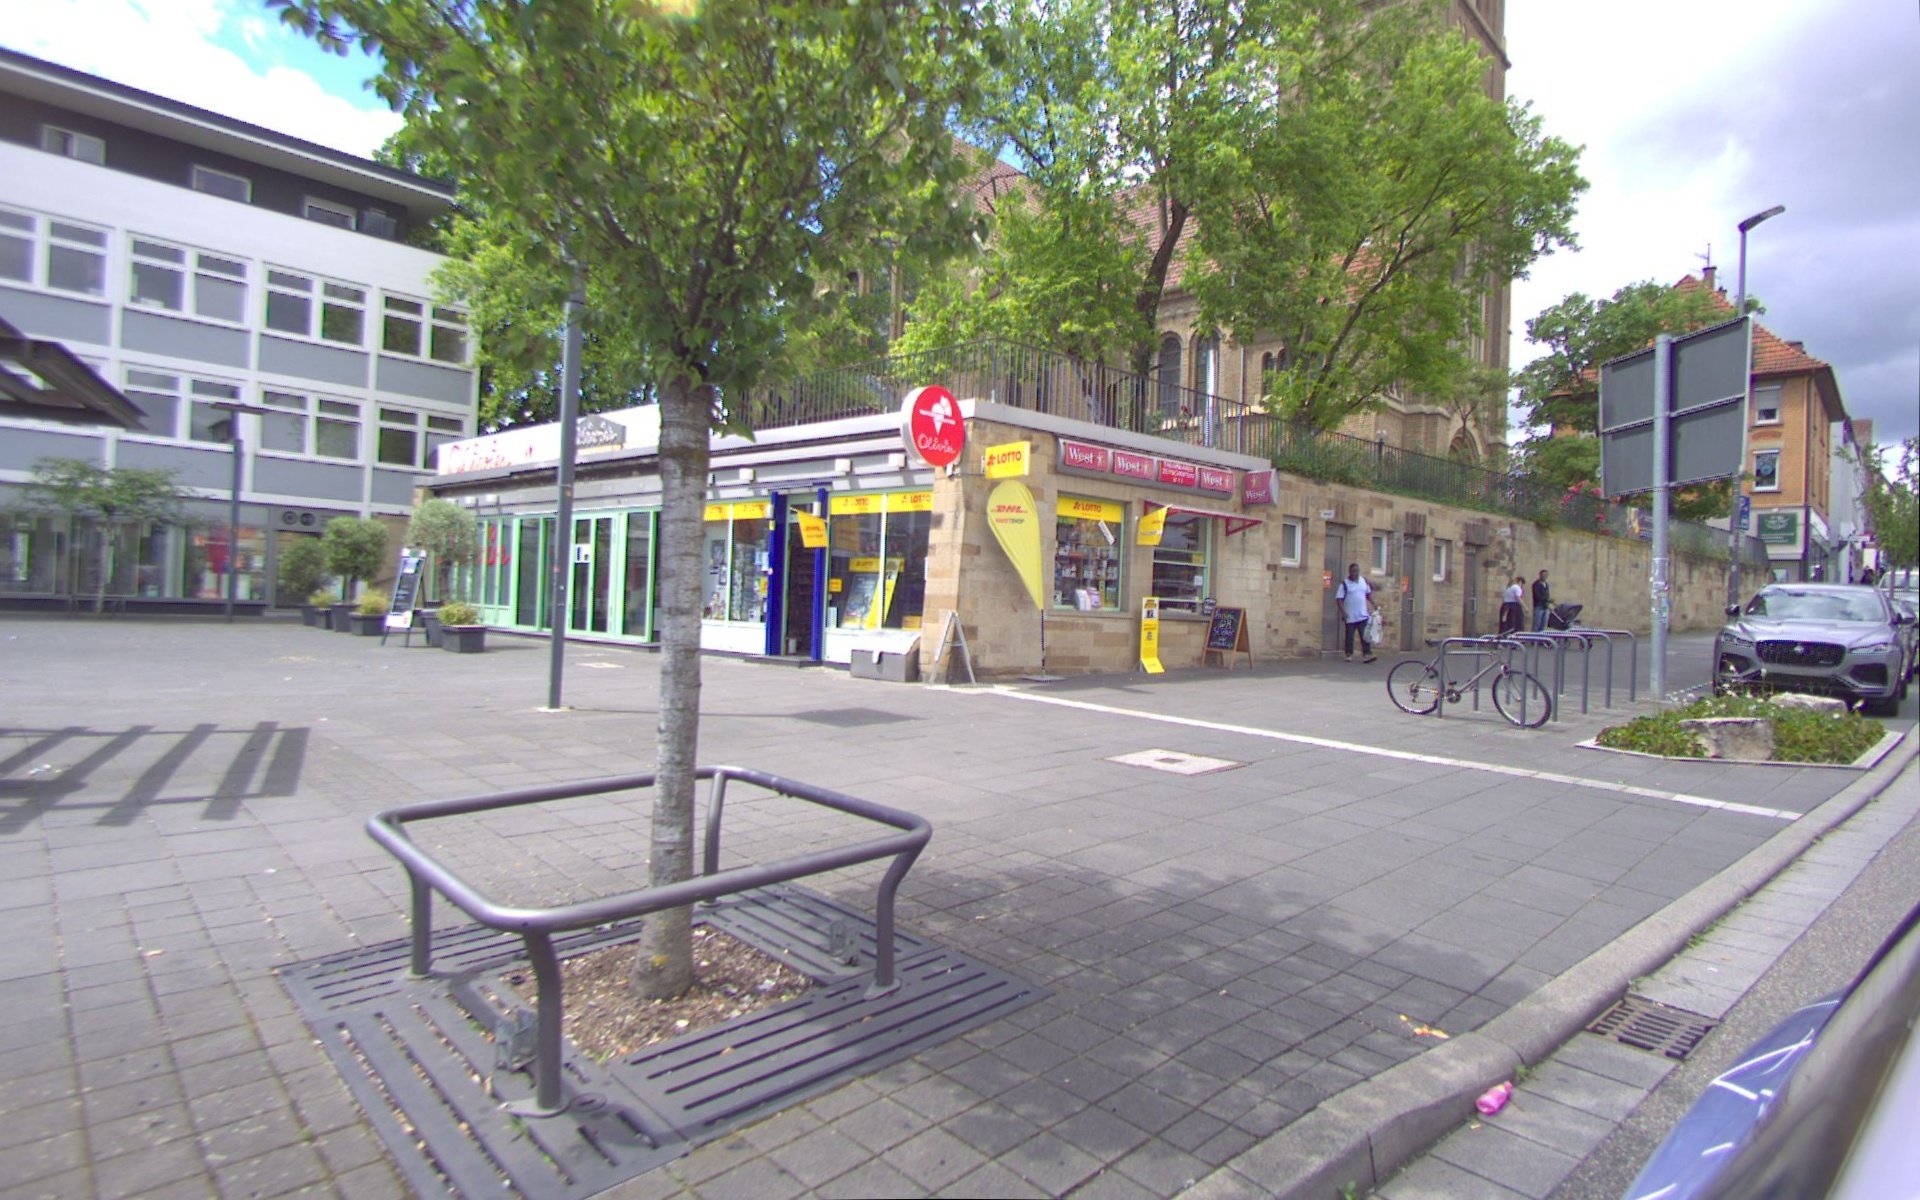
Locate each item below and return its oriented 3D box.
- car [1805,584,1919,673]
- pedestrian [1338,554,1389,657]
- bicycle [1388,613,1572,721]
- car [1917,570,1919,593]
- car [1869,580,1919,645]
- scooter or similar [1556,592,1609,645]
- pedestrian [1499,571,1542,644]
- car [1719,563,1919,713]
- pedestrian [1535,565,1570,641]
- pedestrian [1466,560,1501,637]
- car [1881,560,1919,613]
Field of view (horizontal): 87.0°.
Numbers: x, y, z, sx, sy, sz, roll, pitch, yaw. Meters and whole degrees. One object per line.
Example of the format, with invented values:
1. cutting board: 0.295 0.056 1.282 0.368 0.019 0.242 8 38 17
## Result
1. car: 17.024 0.444 18.657 4.298 1.434 1.683 -1 2 -43
2. pedestrian: 7.117 0.082 17.876 0.753 1.752 0.594 3 2 21
3. bicycle: 5.604 0.691 10.988 1.726 1.008 0.340 3 2 43
4. car: 67.497 -1.276 70.013 1.771 1.543 3.473 2 3 45
5. car: 24.392 0.283 25.748 1.755 1.458 4.026 2 4 43
6. scooter or similar: 13.616 0.395 22.131 0.549 1.085 0.815 -1 3 -33
7. pedestrian: 12.004 0.154 21.676 0.573 1.542 0.590 0 1 -37
8. car: 12.303 0.400 14.295 1.929 1.745 4.500 3 3 44
9. pedestrian: 13.237 0.065 22.596 0.497 1.666 0.475 -1 2 -33
10. pedestrian: 11.529 -0.048 22.272 0.497 1.666 0.475 -1 2 -33
11. car: 36.621 -0.546 38.354 4.943 1.870 1.889 -2 3 -40
